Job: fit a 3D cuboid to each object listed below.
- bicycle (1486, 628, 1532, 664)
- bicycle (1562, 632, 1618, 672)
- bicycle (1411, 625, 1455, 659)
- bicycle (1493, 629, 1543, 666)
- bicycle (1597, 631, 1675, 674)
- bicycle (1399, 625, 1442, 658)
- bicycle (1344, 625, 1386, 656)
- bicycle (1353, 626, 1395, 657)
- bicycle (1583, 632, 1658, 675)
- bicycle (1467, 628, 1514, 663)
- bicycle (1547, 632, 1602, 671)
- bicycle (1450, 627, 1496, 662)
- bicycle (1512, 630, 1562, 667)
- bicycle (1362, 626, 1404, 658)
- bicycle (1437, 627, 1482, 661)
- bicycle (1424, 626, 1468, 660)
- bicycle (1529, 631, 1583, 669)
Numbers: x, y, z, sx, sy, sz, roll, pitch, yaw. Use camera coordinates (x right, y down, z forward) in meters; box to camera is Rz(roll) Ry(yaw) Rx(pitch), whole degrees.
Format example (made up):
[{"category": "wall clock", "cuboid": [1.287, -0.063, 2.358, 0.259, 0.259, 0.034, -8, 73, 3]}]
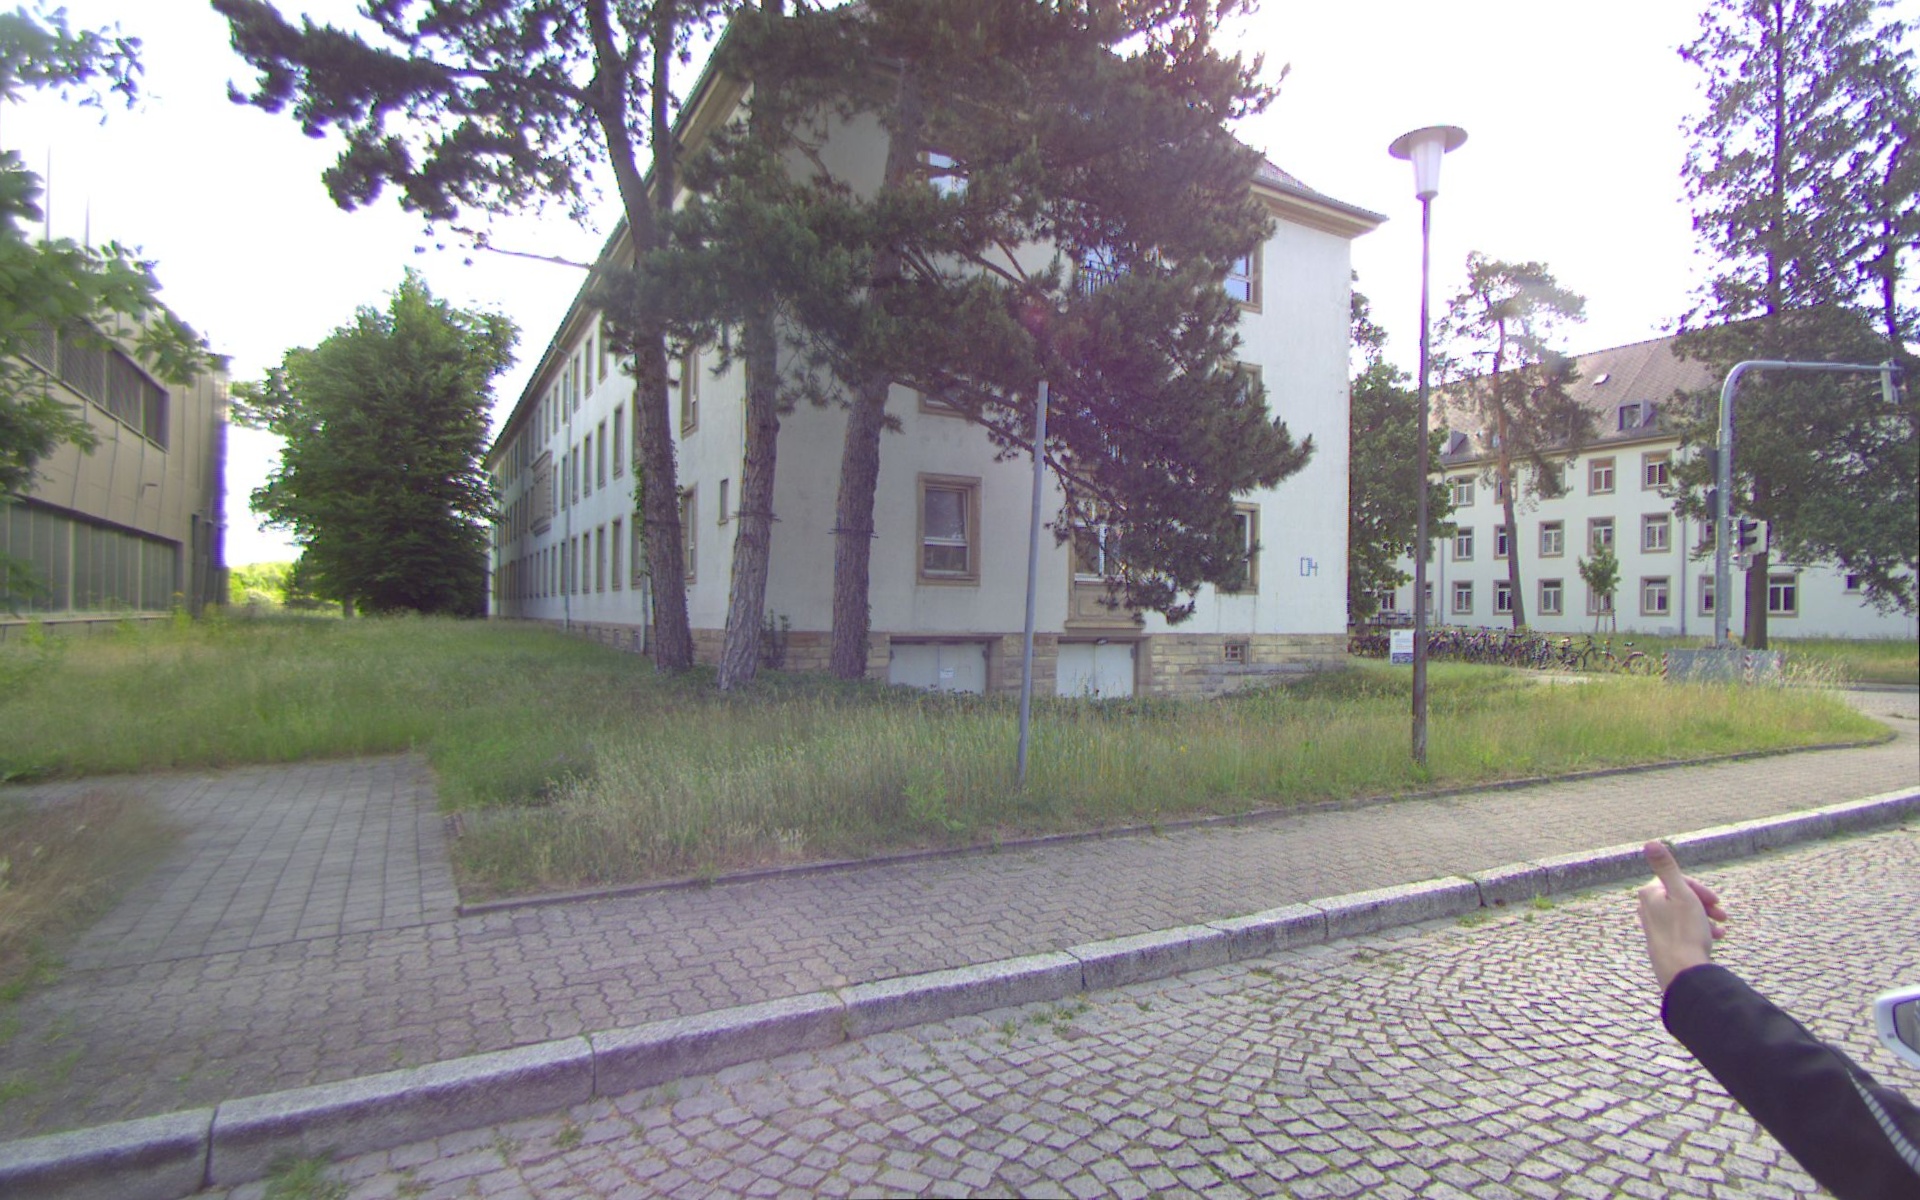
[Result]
[{"category": "bicycle", "cuboid": [19.477, 1.636, 35.628, 1.878, 1.237, 0.545, 1, -1, -31]}, {"category": "bicycle", "cuboid": [20.280, 1.660, 32.314, 2.090, 1.237, 0.630, 1, -1, -31]}, {"category": "bicycle", "cuboid": [17.830, 1.577, 37.852, 1.915, 1.237, 0.511, 1, -1, -31]}, {"category": "bicycle", "cuboid": [19.399, 1.638, 34.916, 2.005, 1.237, 0.576, 1, -1, -31]}, {"category": "bicycle", "cuboid": [20.908, 1.610, 31.105, 0.627, 1.237, 1.936, 1, -1, -29]}, {"category": "bicycle", "cuboid": [17.581, 1.573, 38.339, 1.915, 1.237, 0.511, 1, -1, -31]}, {"category": "bicycle", "cuboid": [16.349, 1.642, 40.562, 1.915, 1.237, 0.511, 1, -1, -31]}, {"category": "bicycle", "cuboid": [16.562, 1.648, 40.168, 1.915, 1.237, 0.511, 1, -1, -31]}, {"category": "bicycle", "cuboid": [20.251, 1.617, 30.835, 0.627, 1.237, 1.853, 1, -1, -29]}, {"category": "bicycle", "cuboid": [18.993, 1.625, 35.935, 1.992, 1.237, 0.511, 1, -1, -31]}, {"category": "bicycle", "cuboid": [20.036, 1.654, 32.730, 2.099, 1.237, 0.630, 1, -1, -31]}, {"category": "bicycle", "cuboid": [18.636, 1.616, 36.475, 1.954, 1.237, 0.511, 1, -1, -31]}, {"category": "bicycle", "cuboid": [19.655, 1.643, 34.199, 1.966, 1.237, 0.569, 1, -1, -31]}, {"category": "bicycle", "cuboid": [16.773, 1.657, 39.794, 1.915, 1.237, 0.511, 1, -1, -31]}, {"category": "bicycle", "cuboid": [18.378, 1.605, 36.923, 1.954, 1.237, 0.511, 1, -1, -31]}, {"category": "bicycle", "cuboid": [18.092, 1.605, 37.364, 1.931, 1.237, 0.511, 1, -1, -31]}, {"category": "bicycle", "cuboid": [19.746, 1.647, 33.259, 2.080, 1.237, 0.630, 1, -1, -31]}]
